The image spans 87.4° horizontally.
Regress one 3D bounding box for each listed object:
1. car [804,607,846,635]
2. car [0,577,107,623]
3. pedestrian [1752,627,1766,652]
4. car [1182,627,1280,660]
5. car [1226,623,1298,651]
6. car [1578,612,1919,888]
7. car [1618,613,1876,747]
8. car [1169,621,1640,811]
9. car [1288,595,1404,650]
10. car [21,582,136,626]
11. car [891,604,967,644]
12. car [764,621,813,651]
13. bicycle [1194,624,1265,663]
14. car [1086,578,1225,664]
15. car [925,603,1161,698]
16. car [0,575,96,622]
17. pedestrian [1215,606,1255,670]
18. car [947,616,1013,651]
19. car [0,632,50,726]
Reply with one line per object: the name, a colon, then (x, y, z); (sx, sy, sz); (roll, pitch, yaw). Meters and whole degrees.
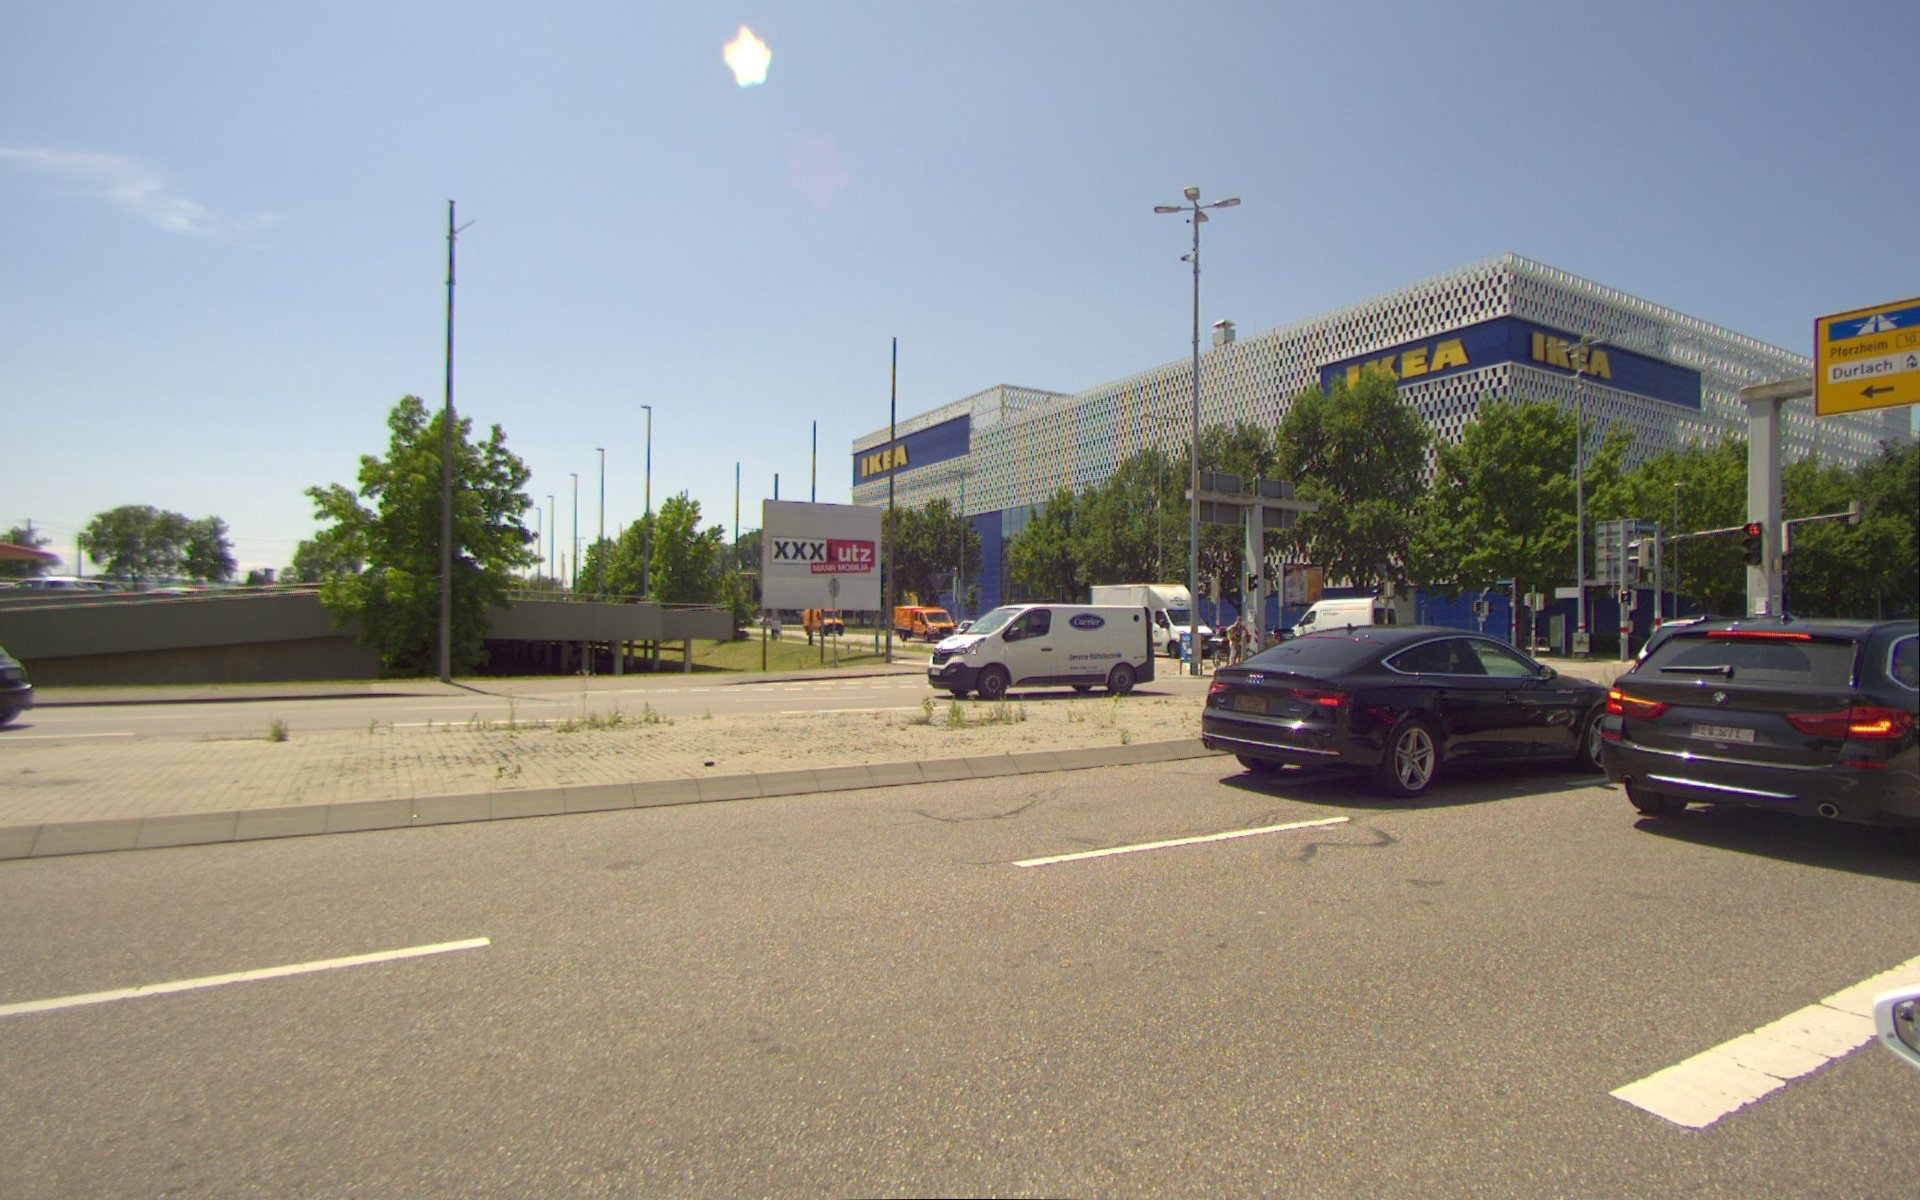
car: (-11.744, 1.820, 86.932); (1.973, 2.318, 5.845); (1, -2, -25)
car: (-43.414, 0.029, 47.771); (3.953, 2.040, 1.984); (2, -2, -30)
pedestrian: (48.174, 2.368, 60.570); (0.477, 1.502, 0.460); (1, -2, -27)
car: (12.021, 1.900, 44.825); (1.755, 1.360, 4.264); (0, -1, -29)
car: (15.085, 1.823, 50.280); (1.603, 1.375, 3.356); (0, -1, -27)
car: (6.704, 0.851, 7.466); (4.572, 1.485, 1.790); (1, 0, -32)
car: (10.606, 0.960, 13.461); (3.963, 1.514, 1.784); (1, -1, -37)
car: (4.244, 0.925, 9.402); (4.478, 1.408, 1.740); (1, -1, -30)
car: (19.101, 1.092, 50.046); (1.975, 2.601, 5.469); (1, -1, -28)
car: (-44.095, 0.234, 50.360); (3.953, 2.040, 1.984); (2, -2, -30)
car: (-2.199, 1.642, 67.444); (2.543, 2.568, 6.584); (1, -2, -27)
car: (-11.871, 2.483, 69.435); (1.816, 2.040, 3.961); (1, -2, -35)
bicycle: (8.784, 1.401, 32.840); (0.987, 1.229, 2.078); (1, -2, -36)
car: (8.647, 0.920, 45.250); (2.157, 3.533, 6.872); (-1, 0, -29)
car: (1.788, 1.028, 21.557); (4.771, 1.875, 1.827); (0, -1, -23)
car: (-42.277, -0.028, 45.843); (3.953, 2.040, 1.984); (2, -2, -30)
pedestrian: (8.920, 1.234, 32.606); (0.857, 2.040, 0.898); (1, -1, -36)
car: (1.151, 2.024, 60.462); (1.975, 2.040, 4.679); (1, -2, -28)
car: (-15.449, 1.116, 13.873); (3.841, 1.319, 1.850); (1, -2, -26)
